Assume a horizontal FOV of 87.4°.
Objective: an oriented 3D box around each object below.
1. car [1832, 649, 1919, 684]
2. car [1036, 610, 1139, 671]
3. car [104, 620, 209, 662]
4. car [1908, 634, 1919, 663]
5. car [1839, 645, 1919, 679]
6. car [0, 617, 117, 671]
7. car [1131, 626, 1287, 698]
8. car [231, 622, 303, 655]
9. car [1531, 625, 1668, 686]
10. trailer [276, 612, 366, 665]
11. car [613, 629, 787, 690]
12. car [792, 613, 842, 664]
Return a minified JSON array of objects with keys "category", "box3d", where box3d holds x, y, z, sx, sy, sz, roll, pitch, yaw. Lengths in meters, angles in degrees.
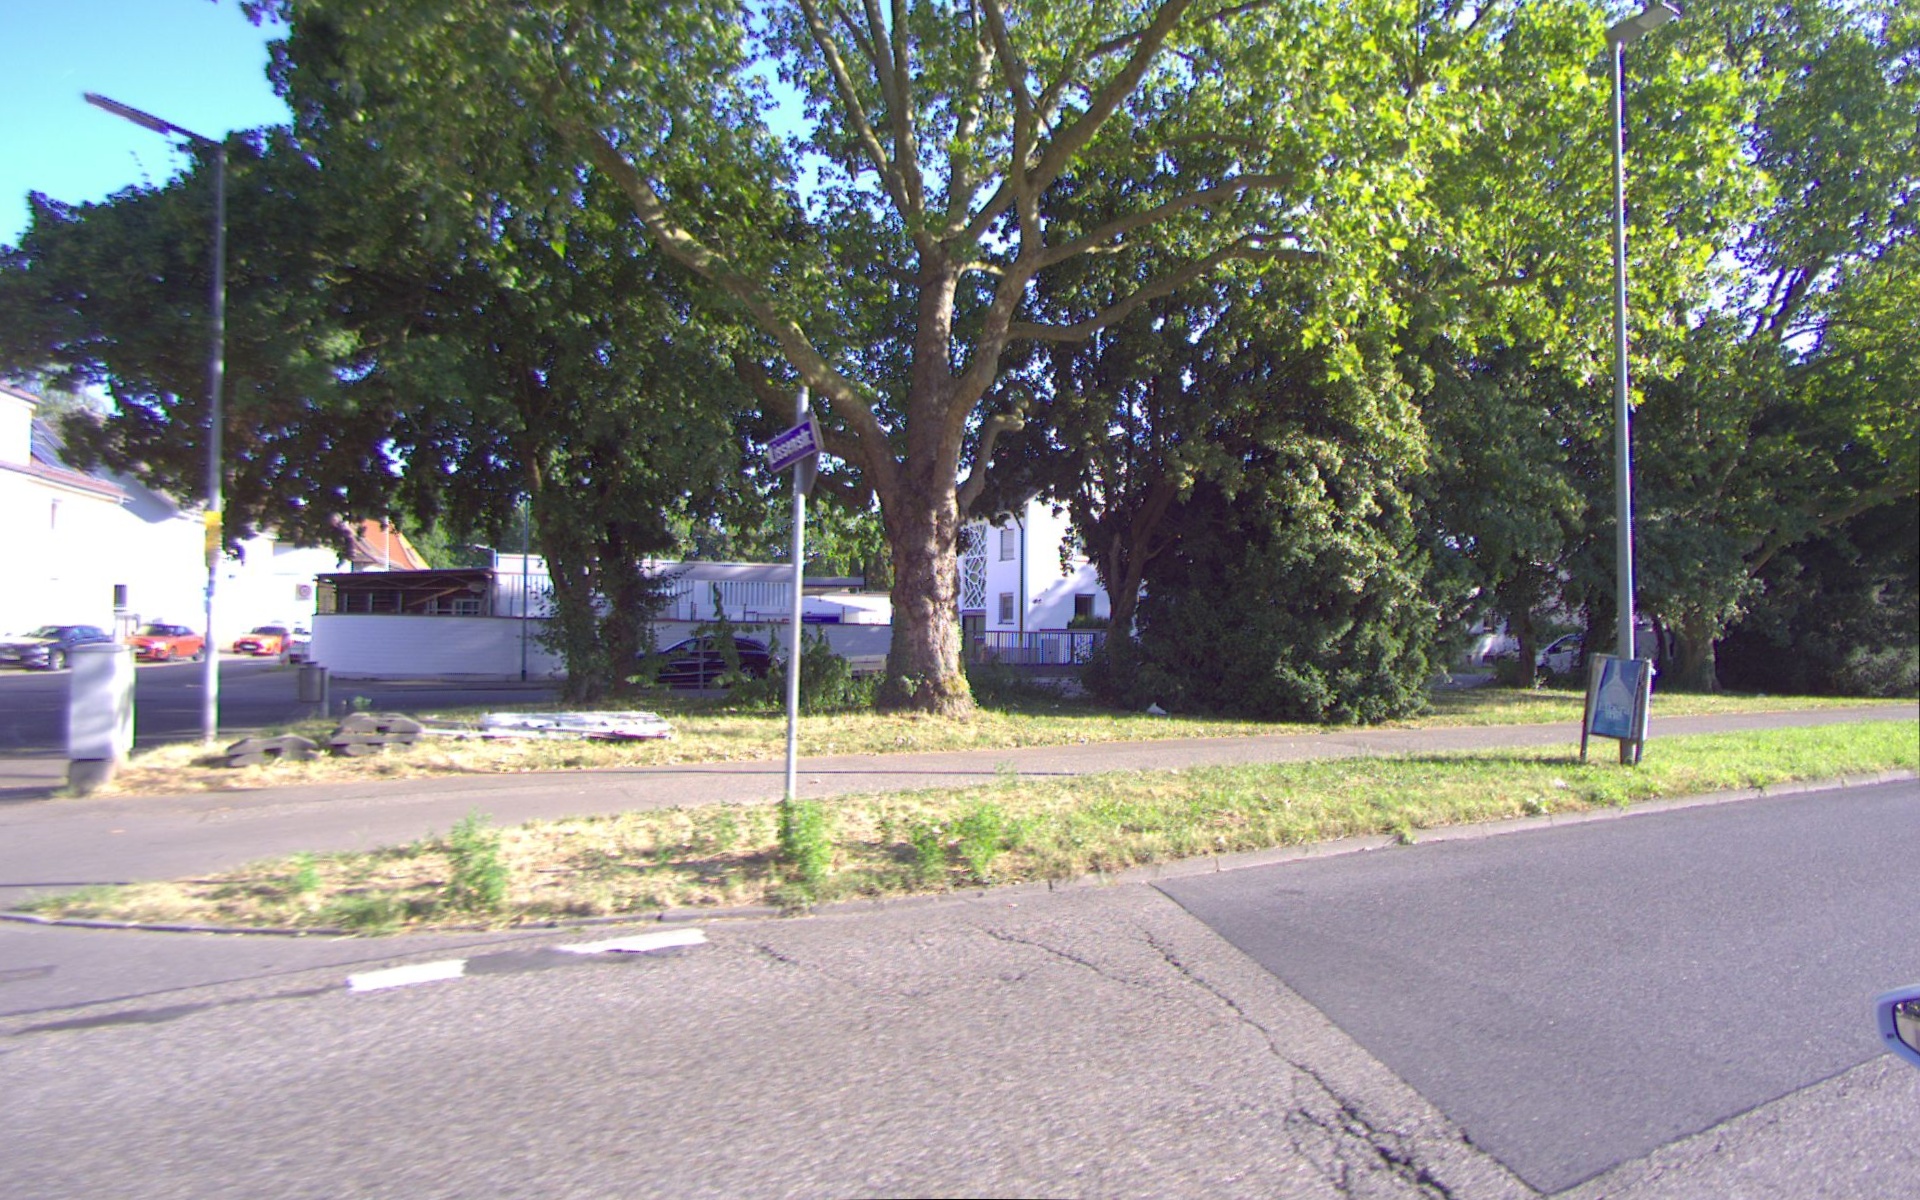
[{"category":"car","box3d":[42.516,3.010,45.884,1.795,1.520,3.704,2,-2,-34]},{"category":"car","box3d":[5.095,1.605,40.567,1.976,2.319,4.296,2,-2,-29]},{"category":"car","box3d":[-32.011,1.634,40.162,1.834,1.581,3.986,1,-2,-17]},{"category":"car","box3d":[52.766,2.628,52.811,1.895,1.528,3.959,2,-1,-36]},{"category":"car","box3d":[46.233,3.050,49.501,1.936,1.617,4.093,2,-3,-38]},{"category":"car","box3d":[-29.787,1.413,32.888,1.835,1.581,3.986,3,-2,-17]},{"category":"car","box3d":[6.522,1.589,26.701,1.708,1.706,3.965,2,-2,-32]},{"category":"car","box3d":[-35.218,1.938,51.146,1.834,1.581,3.986,1,-2,-17]},{"category":"car","box3d":[23.945,2.035,37.728,1.891,2.072,3.957,0,0,-37]},{"category":"trailer","box3d":[-25.758,1.542,40.655,2.142,2.040,3.653,1,-2,-17]},{"category":"car","box3d":[-7.137,1.603,27.704,4.308,1.581,1.850,2,-2,-31]},{"category":"car","box3d":[-6.744,1.795,47.045,1.965,2.278,3.991,1,-2,-13]}]
